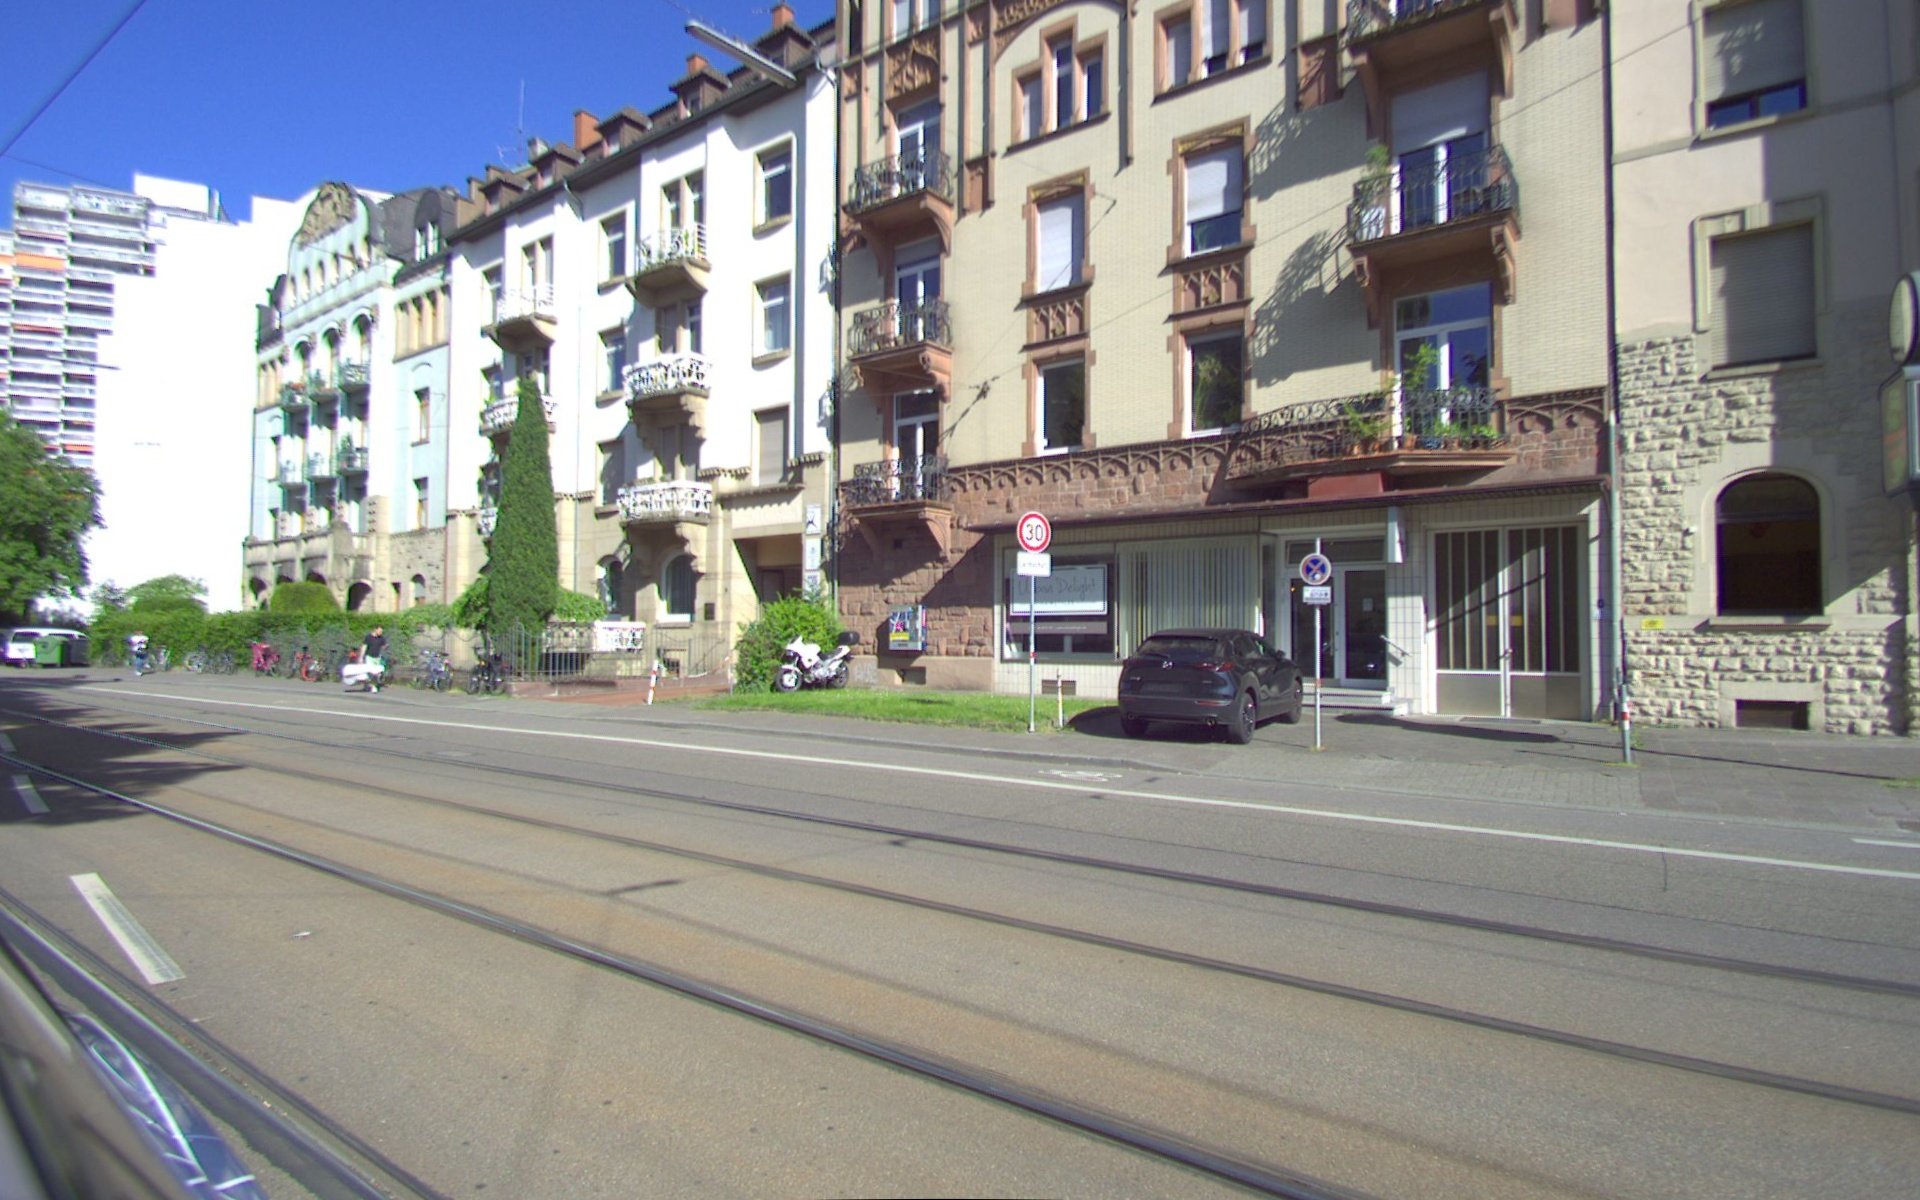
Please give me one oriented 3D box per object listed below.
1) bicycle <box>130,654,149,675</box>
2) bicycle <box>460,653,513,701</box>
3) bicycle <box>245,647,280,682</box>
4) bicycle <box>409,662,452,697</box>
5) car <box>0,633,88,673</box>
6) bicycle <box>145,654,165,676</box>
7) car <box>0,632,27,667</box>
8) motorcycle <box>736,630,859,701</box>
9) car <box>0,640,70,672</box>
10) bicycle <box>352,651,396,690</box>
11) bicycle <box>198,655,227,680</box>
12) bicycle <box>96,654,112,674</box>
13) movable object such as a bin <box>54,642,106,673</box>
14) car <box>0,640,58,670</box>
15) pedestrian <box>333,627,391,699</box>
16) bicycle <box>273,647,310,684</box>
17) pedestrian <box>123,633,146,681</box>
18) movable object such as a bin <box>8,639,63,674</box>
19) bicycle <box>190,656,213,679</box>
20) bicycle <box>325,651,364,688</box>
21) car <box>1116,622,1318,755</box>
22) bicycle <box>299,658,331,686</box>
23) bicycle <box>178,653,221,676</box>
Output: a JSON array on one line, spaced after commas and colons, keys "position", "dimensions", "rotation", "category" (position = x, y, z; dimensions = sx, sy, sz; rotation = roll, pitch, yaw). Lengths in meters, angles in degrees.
[{"position": [-31.784, 2.478, 39.194], "dimensions": [1.262, 0.767, 0.293], "rotation": [-1, -2, 39], "category": "bicycle"}, {"position": [-10.997, 1.771, 23.480], "dimensions": [1.747, 1.047, 0.400], "rotation": [-1, -2, 39], "category": "bicycle"}, {"position": [-21.719, 1.997, 31.487], "dimensions": [1.814, 1.031, 0.400], "rotation": [-1, -2, 39], "category": "bicycle"}, {"position": [-12.908, 1.927, 24.659], "dimensions": [1.650, 0.767, 0.314], "rotation": [-1, -2, 39], "category": "bicycle"}, {"position": [-42.949, 2.529, 47.533], "dimensions": [1.437, 1.787, 3.191], "rotation": [0, -4, -7], "category": "car"}, {"position": [-30.343, 2.439, 38.126], "dimensions": [1.262, 0.767, 0.314], "rotation": [-1, -2, 39], "category": "bicycle"}, {"position": [-53.701, 2.745, 55.618], "dimensions": [1.893, 1.885, 3.448], "rotation": [0, -1, -6], "category": "car"}, {"position": [-3.588, 1.419, 22.779], "dimensions": [0.822, 1.467, 3.057], "rotation": [-1, -1, 36], "category": "motorcycle"}, {"position": [-45.367, 2.719, 49.251], "dimensions": [1.450, 1.446, 2.735], "rotation": [-1, -1, 22], "category": "car"}, {"position": [-15.565, 1.859, 26.867], "dimensions": [1.747, 0.949, 0.400], "rotation": [-1, -2, 39], "category": "bicycle"}, {"position": [-25.234, 2.271, 34.160], "dimensions": [1.580, 0.767, 0.400], "rotation": [-1, -2, 39], "category": "bicycle"}, {"position": [-35.574, 2.651, 42.047], "dimensions": [1.262, 0.767, 0.293], "rotation": [-1, -2, 39], "category": "bicycle"}, {"position": [-40.551, 2.642, 46.644], "dimensions": [2.094, 1.327, 1.482], "rotation": [-1, -1, 39], "category": "movable object such as a bin"}, {"position": [-47.947, 2.765, 51.474], "dimensions": [1.450, 1.446, 2.735], "rotation": [-1, -1, 22], "category": "car"}, {"position": [-14.452, 1.496, 24.461], "dimensions": [0.869, 1.640, 0.858], "rotation": [-1, 2, 39], "category": "pedestrian"}, {"position": [-19.895, 1.936, 30.094], "dimensions": [1.814, 1.031, 0.400], "rotation": [-1, -2, 39], "category": "bicycle"}, {"position": [-29.032, 1.997, 35.591], "dimensions": [0.659, 1.641, 0.470], "rotation": [-1, -2, 39], "category": "pedestrian"}, {"position": [-40.835, 2.473, 44.711], "dimensions": [2.094, 1.443, 1.494], "rotation": [-1, -1, 39], "category": "movable object such as a bin"}, {"position": [-26.357, 2.344, 35.160], "dimensions": [1.262, 0.767, 0.335], "rotation": [-1, -2, 39], "category": "bicycle"}, {"position": [-17.036, 1.906, 27.993], "dimensions": [1.647, 0.949, 0.400], "rotation": [-1, -2, 39], "category": "bicycle"}, {"position": [3.909, 1.162, 14.904], "dimensions": [1.766, 1.514, 3.957], "rotation": [-1, 1, 32], "category": "car"}, {"position": [-18.503, 2.055, 29.015], "dimensions": [1.541, 0.767, 0.314], "rotation": [-1, -2, 39], "category": "bicycle"}, {"position": [-28.352, 2.409, 37.754], "dimensions": [0.297, 0.799, 1.246], "rotation": [-1, -2, 39], "category": "bicycle"}]
